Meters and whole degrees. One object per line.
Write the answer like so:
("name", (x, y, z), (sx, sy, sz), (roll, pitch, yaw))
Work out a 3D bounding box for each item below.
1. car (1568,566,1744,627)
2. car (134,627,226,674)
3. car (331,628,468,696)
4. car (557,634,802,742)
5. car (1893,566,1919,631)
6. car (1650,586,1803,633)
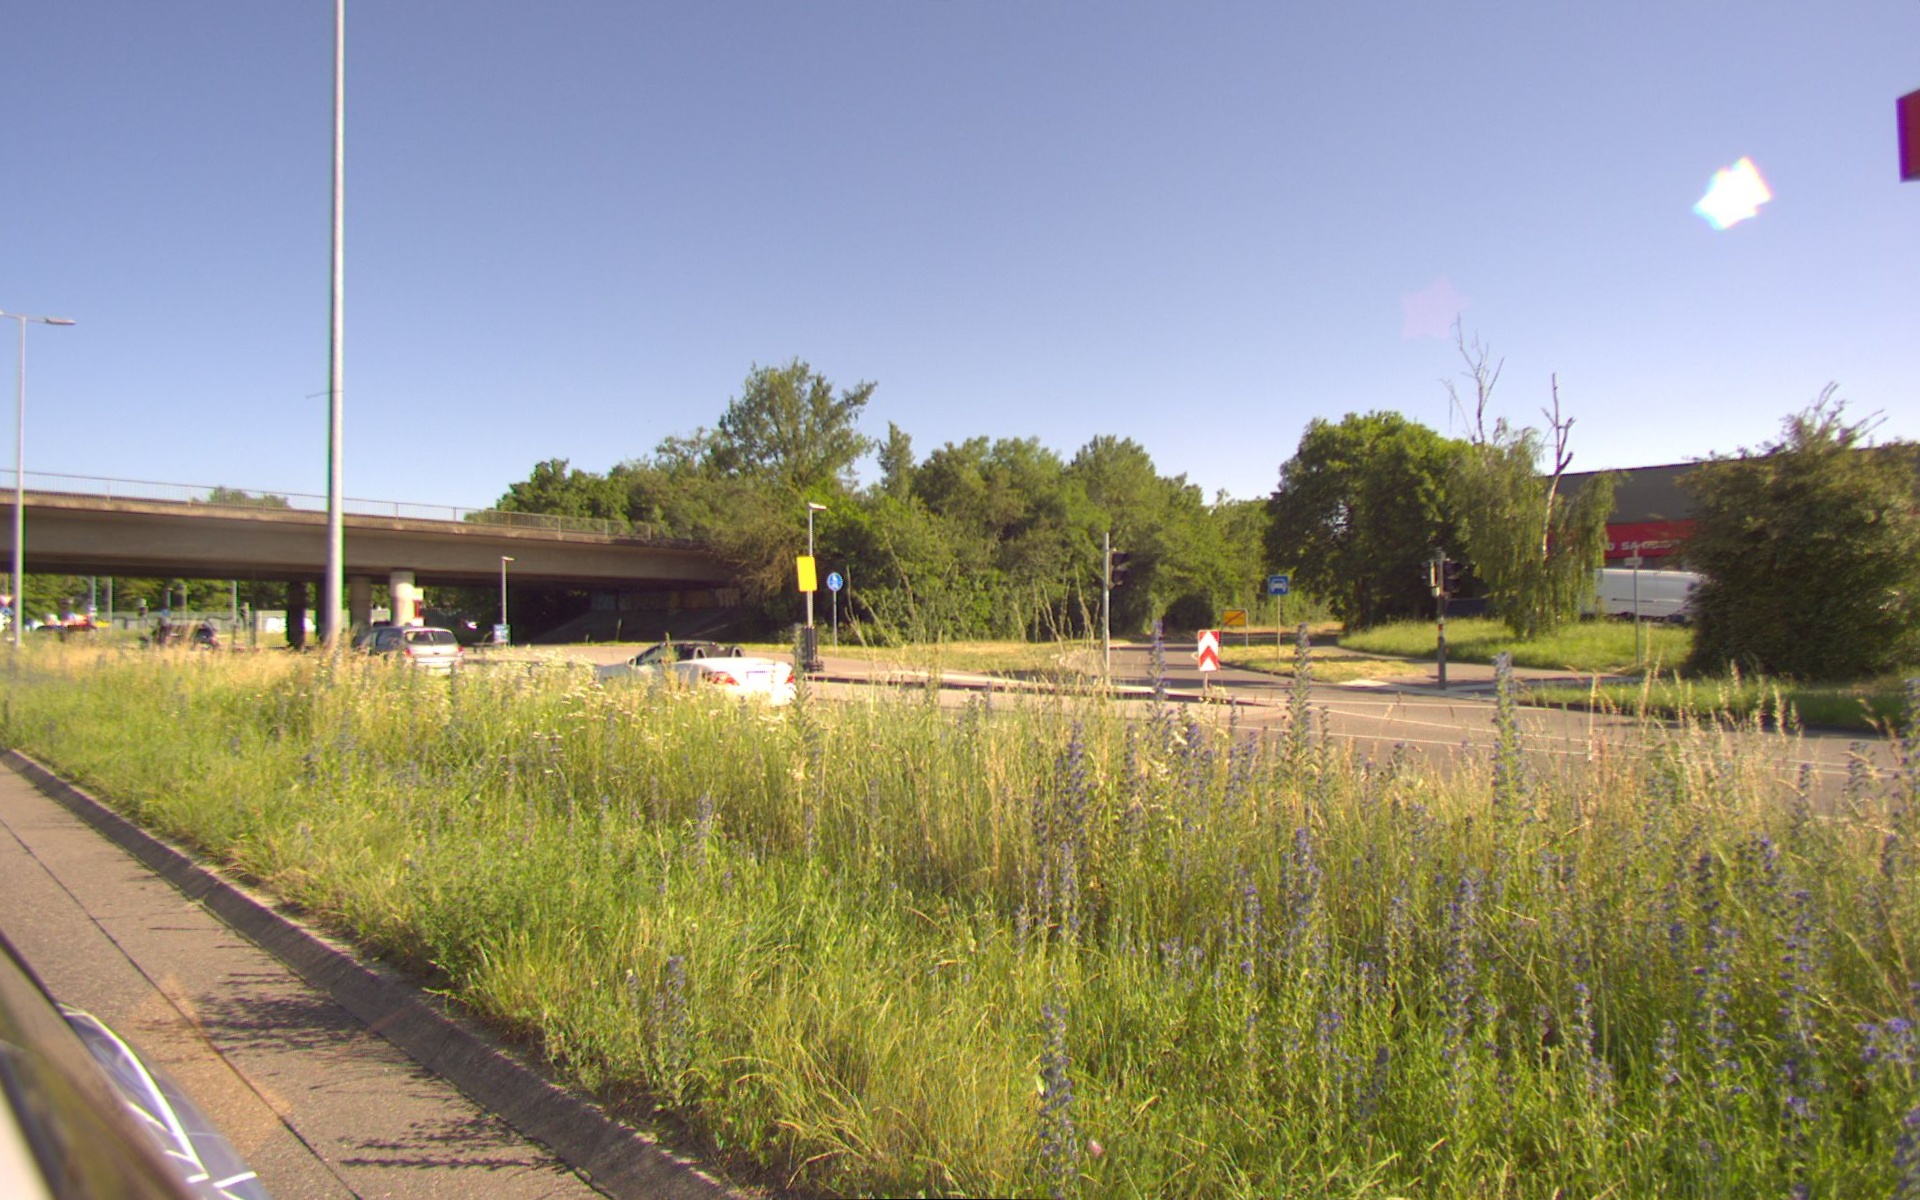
("car", (25.818, -0.079, 37.705), (4.990, 2.168, 1.890), (-1, -2, 10))
("car", (-26.598, 1.690, 34.490), (3.587, 1.542, 1.617), (-2, -2, 38))
("car", (-13.885, 1.486, 25.026), (3.586, 1.542, 1.618), (-2, -2, 36))
("car", (-4.461, 1.275, 15.814), (4.098, 1.455, 1.617), (-2, -2, 39))
("car", (24.873, -0.039, 24.579), (4.060, 1.563, 1.901), (0, -2, -26))
("car", (25.009, 0.327, 33.037), (4.061, 1.466, 1.901), (0, -2, -16))
